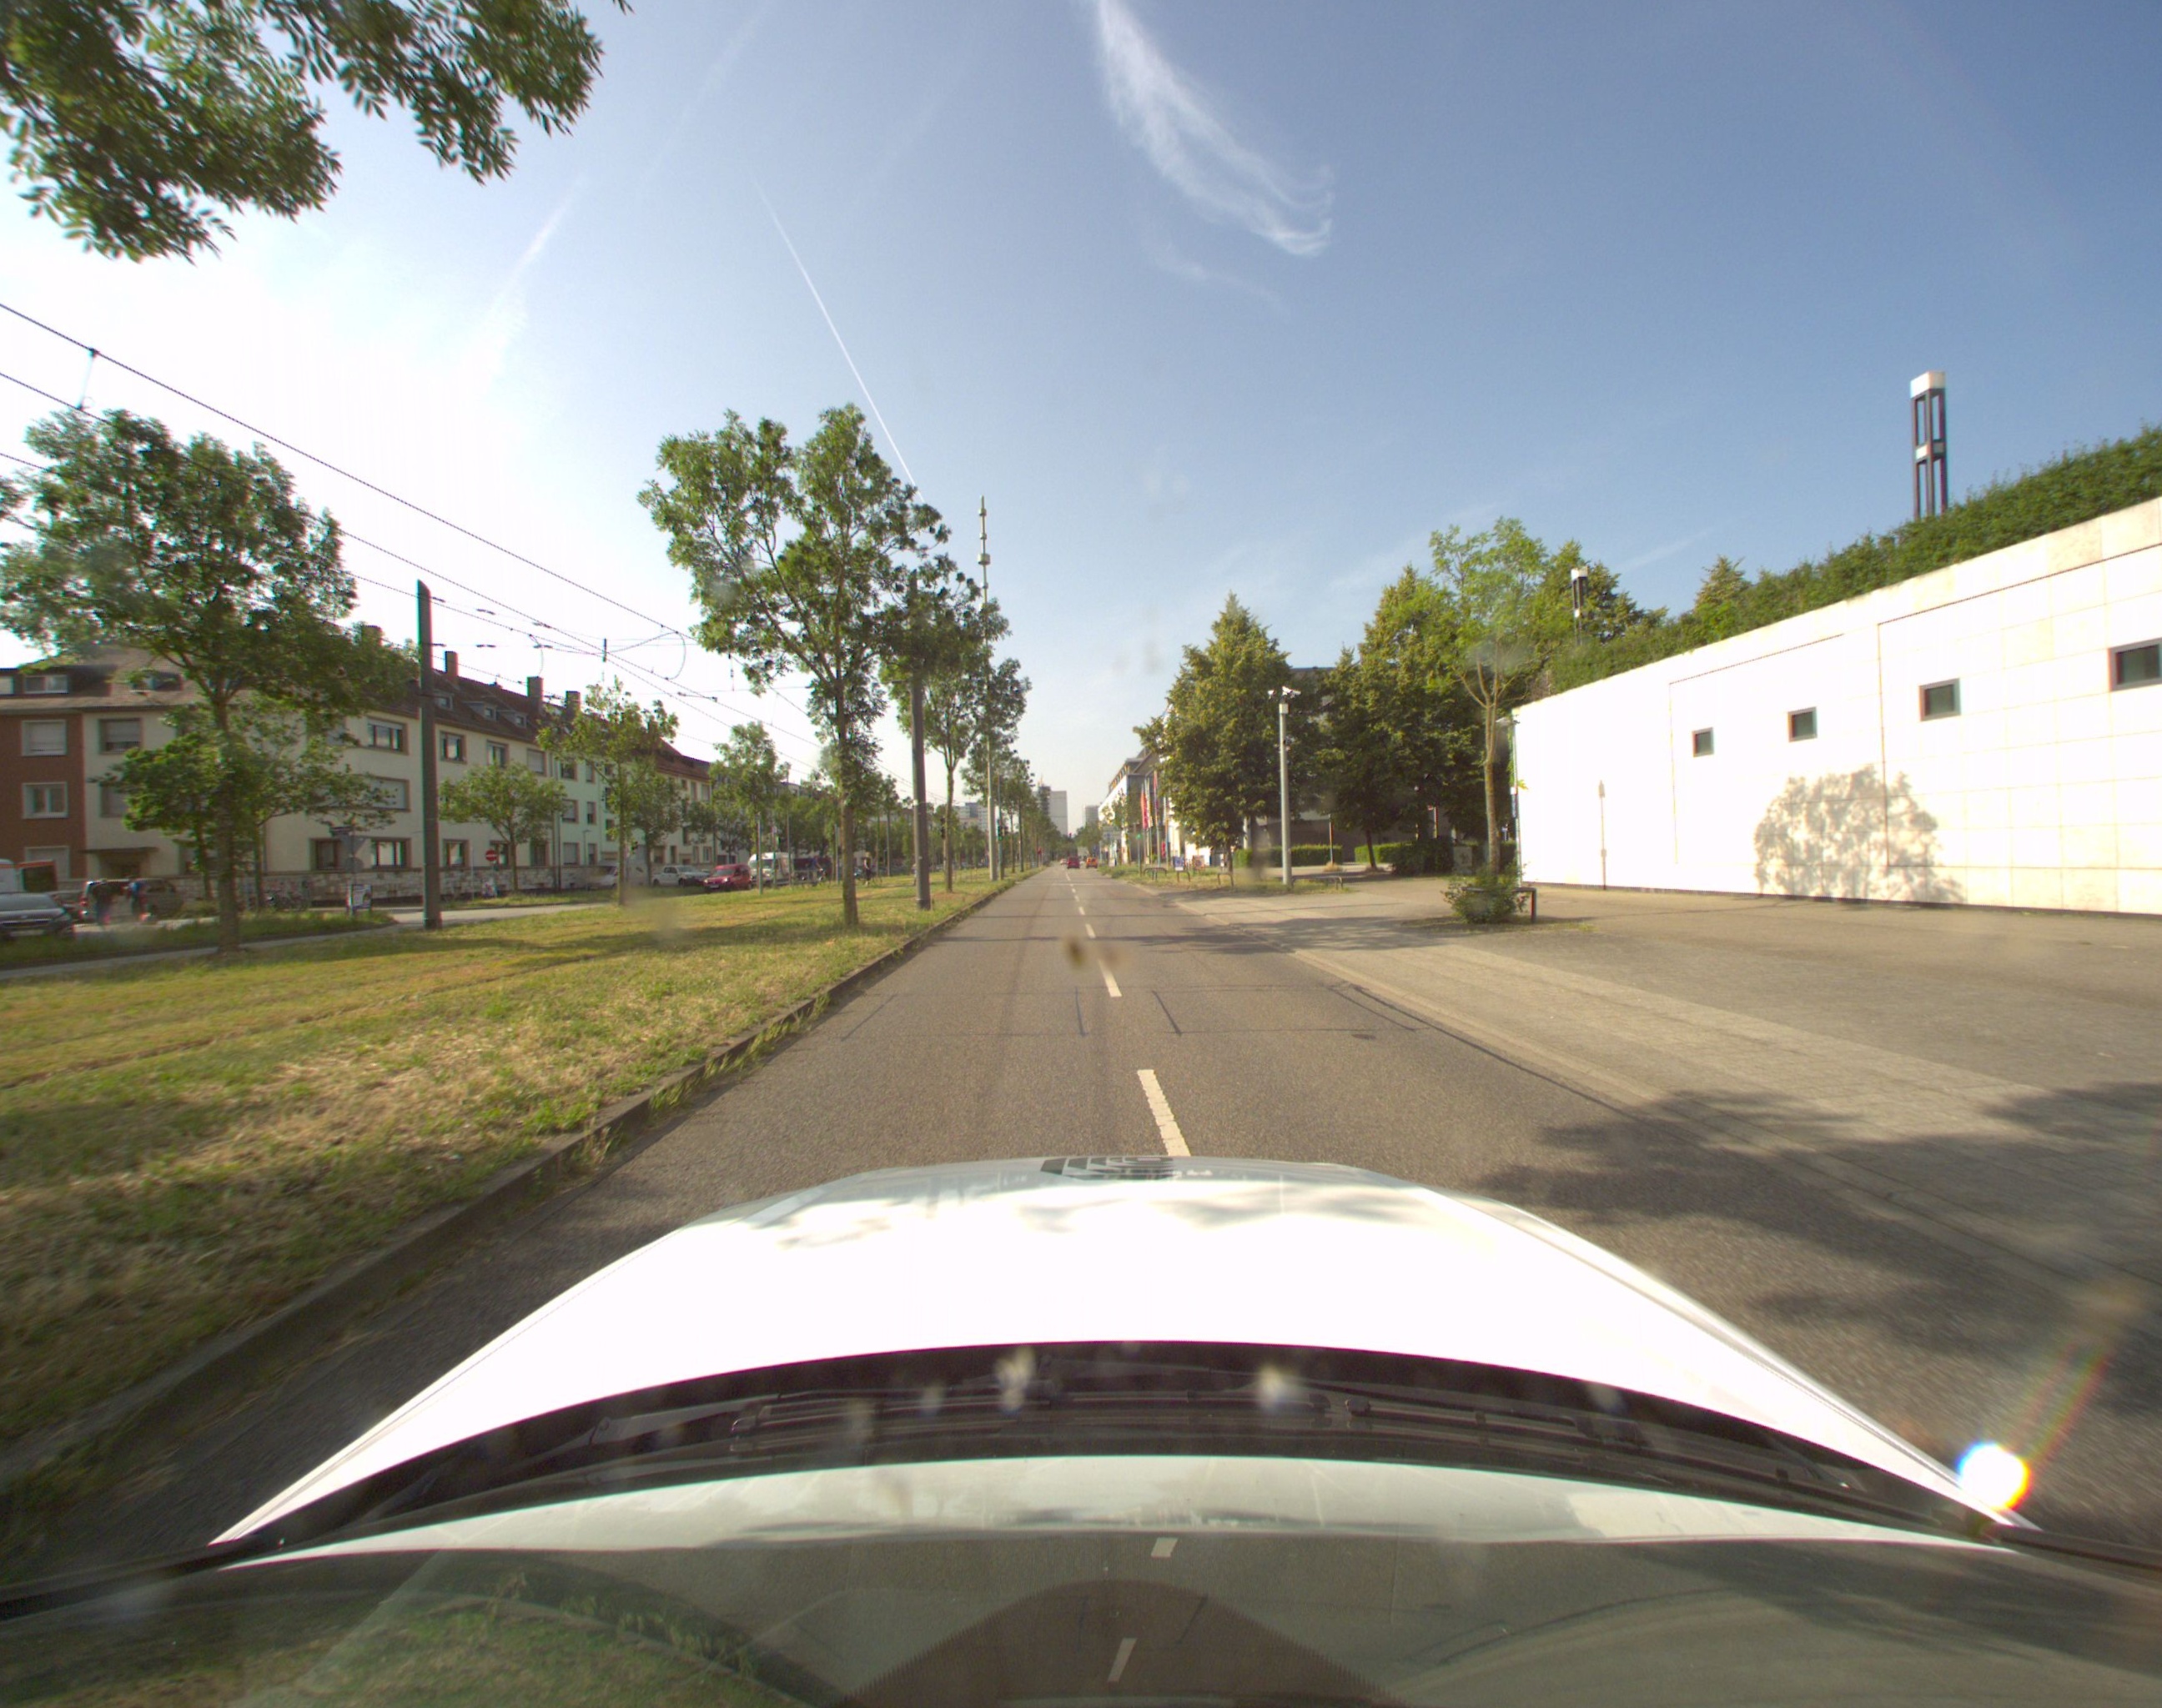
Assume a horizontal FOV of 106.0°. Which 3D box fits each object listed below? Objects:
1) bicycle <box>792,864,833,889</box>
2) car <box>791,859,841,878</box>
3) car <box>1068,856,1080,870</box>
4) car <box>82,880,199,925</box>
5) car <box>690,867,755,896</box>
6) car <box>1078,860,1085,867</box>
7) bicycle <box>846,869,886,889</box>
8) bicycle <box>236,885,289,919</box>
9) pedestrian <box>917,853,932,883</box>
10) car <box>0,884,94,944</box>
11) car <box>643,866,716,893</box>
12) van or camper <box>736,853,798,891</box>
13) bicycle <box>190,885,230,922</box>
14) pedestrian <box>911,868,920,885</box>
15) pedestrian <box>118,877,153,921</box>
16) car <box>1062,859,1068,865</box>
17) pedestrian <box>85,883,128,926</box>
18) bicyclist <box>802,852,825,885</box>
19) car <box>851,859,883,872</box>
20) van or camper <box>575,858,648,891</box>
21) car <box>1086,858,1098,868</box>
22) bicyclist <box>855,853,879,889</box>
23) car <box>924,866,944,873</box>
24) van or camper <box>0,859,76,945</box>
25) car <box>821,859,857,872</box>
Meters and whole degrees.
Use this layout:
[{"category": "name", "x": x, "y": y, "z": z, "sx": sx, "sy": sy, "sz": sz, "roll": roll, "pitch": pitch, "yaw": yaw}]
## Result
[{"category": "bicycle", "x": -14.494, "y": 1.189, "z": 43.998, "sx": 2.073, "sy": 1.324, "sz": 0.778, "roll": 1, "pitch": -1, "yaw": -20}, {"category": "car", "x": -28.488, "y": 1.563, "z": 87.624, "sx": 5.171, "sy": 2.014, "sz": 1.887, "roll": 0, "pitch": -1, "yaw": 24}, {"category": "car", "x": -1.039, "y": 1.344, "z": 121.473, "sx": 1.743, "sy": 2.014, "sz": 3.214, "roll": 0, "pitch": -1, "yaw": -1}, {"category": "car", "x": -41.668, "y": 2.086, "z": 36.238, "sx": 2.022, "sy": 1.767, "sz": 4.291, "roll": 1, "pitch": -1, "yaw": -29}, {"category": "car", "x": -22.075, "y": 1.659, "z": 50.292, "sx": 1.957, "sy": 1.694, "sz": 4.299, "roll": 0, "pitch": -1, "yaw": 2}, {"category": "car", "x": 0.092, "y": 2.107, "z": 185.845, "sx": 1.743, "sy": 1.650, "sz": 3.214, "roll": 0, "pitch": -1, "yaw": -1}, {"category": "bicycle", "x": -11.845, "y": 1.379, "z": 44.934, "sx": 2.064, "sy": 1.042, "sz": 0.666, "roll": 0, "pitch": -1, "yaw": -7}, {"category": "bicycle", "x": -36.241, "y": 2.102, "z": 36.033, "sx": 3.019, "sy": 1.360, "sz": 0.986, "roll": 0, "pitch": -1, "yaw": 32}, {"category": "pedestrian", "x": -8.259, "y": 0.720, "z": 42.943, "sx": 0.623, "sy": 1.572, "sz": 0.710, "roll": 0, "pitch": -1, "yaw": -1}, {"category": "car", "x": -26.424, "y": 1.475, "z": 20.551, "sx": 3.124, "sy": 1.326, "sz": 1.506, "roll": 0, "pitch": -1, "yaw": 32}, {"category": "car", "x": -27.643, "y": 1.729, "z": 55.998, "sx": 5.259, "sy": 1.738, "sz": 2.012, "roll": 0, "pitch": -1, "yaw": 32}, {"category": "van or camper", "x": -22.107, "y": 1.265, "z": 57.610, "sx": 2.198, "sy": 2.531, "sz": 6.024, "roll": 0, "pitch": -1, "yaw": -2}, {"category": "bicycle", "x": -36.969, "y": 2.070, "z": 34.554, "sx": 3.179, "sy": 1.461, "sz": 0.936, "roll": 0, "pitch": -1, "yaw": 39}, {"category": "pedestrian", "x": -8.770, "y": 1.181, "z": 43.146, "sx": 0.340, "sy": 0.875, "sz": 0.461, "roll": 0, "pitch": -1, "yaw": -1}, {"category": "pedestrian", "x": -35.982, "y": 1.709, "z": 30.994, "sx": 0.579, "sy": 1.666, "sz": 0.619, "roll": 0, "pitch": -1, "yaw": 2}, {"category": "car", "x": -4.599, "y": 2.216, "z": 231.782, "sx": 1.743, "sy": 1.650, "sz": 3.214, "roll": 0, "pitch": -1, "yaw": -1}, {"category": "pedestrian", "x": -36.046, "y": 1.858, "z": 30.131, "sx": 0.635, "sy": 1.523, "sz": 0.726, "roll": 0, "pitch": -1, "yaw": 2}, {"category": "bicyclist", "x": -14.476, "y": 0.759, "z": 44.003, "sx": 1.150, "sy": 1.762, "sz": 0.682, "roll": 1, "pitch": -1, "yaw": -20}, {"category": "car", "x": -27.235, "y": 1.452, "z": 103.645, "sx": 3.951, "sy": 1.530, "sz": 1.472, "roll": 0, "pitch": -1, "yaw": 24}, {"category": "van or camper", "x": -34.838, "y": 1.506, "z": 60.696, "sx": 1.987, "sy": 2.329, "sz": 5.827, "roll": 0, "pitch": -1, "yaw": 0}, {"category": "car", "x": 1.753, "y": 1.431, "z": 131.417, "sx": 1.743, "sy": 1.650, "sz": 3.214, "roll": 0, "pitch": -1, "yaw": -1}, {"category": "bicyclist", "x": -11.825, "y": 0.940, "z": 44.959, "sx": 1.145, "sy": 1.934, "sz": 0.685, "roll": 1, "pitch": -1, "yaw": -6}, {"category": "car", "x": -31.729, "y": 3.355, "z": 176.227, "sx": 3.951, "sy": 1.596, "sz": 1.664, "roll": 0, "pitch": -1, "yaw": 24}, {"category": "van or camper", "x": -33.376, "y": 1.416, "z": 23.047, "sx": 2.034, "sy": 2.567, "sz": 6.351, "roll": 0, "pitch": -1, "yaw": -2}, {"category": "car", "x": -27.723, "y": 1.317, "z": 93.220, "sx": 3.951, "sy": 1.530, "sz": 1.472, "roll": 0, "pitch": -1, "yaw": 24}]
